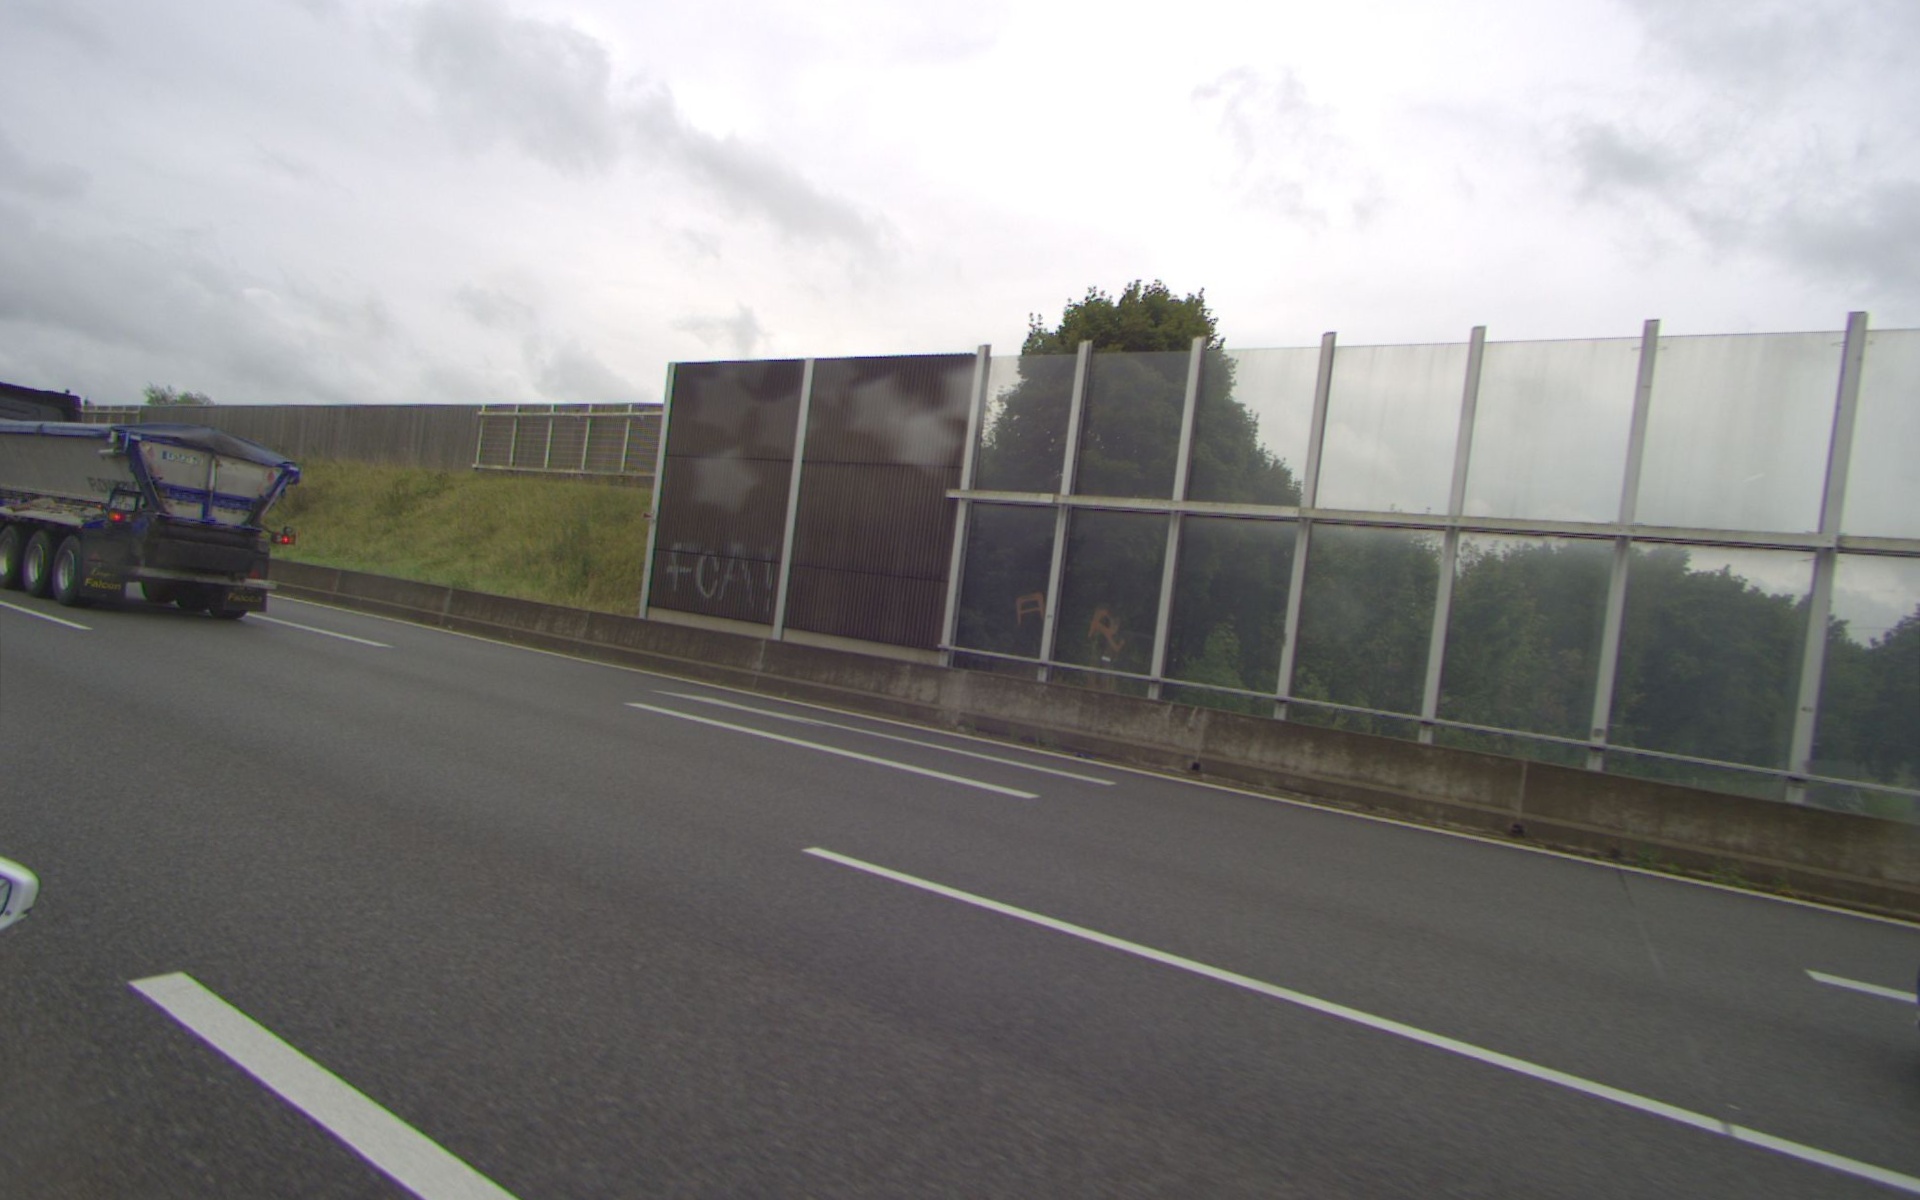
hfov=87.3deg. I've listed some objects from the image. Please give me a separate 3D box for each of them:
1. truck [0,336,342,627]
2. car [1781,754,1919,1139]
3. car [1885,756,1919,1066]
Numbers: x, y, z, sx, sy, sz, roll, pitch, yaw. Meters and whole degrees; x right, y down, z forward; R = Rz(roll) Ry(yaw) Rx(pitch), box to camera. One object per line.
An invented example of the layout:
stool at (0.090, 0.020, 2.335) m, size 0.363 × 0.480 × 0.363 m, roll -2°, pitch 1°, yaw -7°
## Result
truck at (-16.479, -2.259, 18.643) m, size 12.500 × 3.999 × 2.816 m, roll 7°, pitch 0°, yaw 31°
car at (6.411, 1.753, 3.457) m, size 5.201 × 1.443 × 1.944 m, roll 7°, pitch -2°, yaw 32°
car at (6.411, 1.681, 3.441) m, size 4.396 × 1.473 × 1.667 m, roll 7°, pitch -2°, yaw 31°
